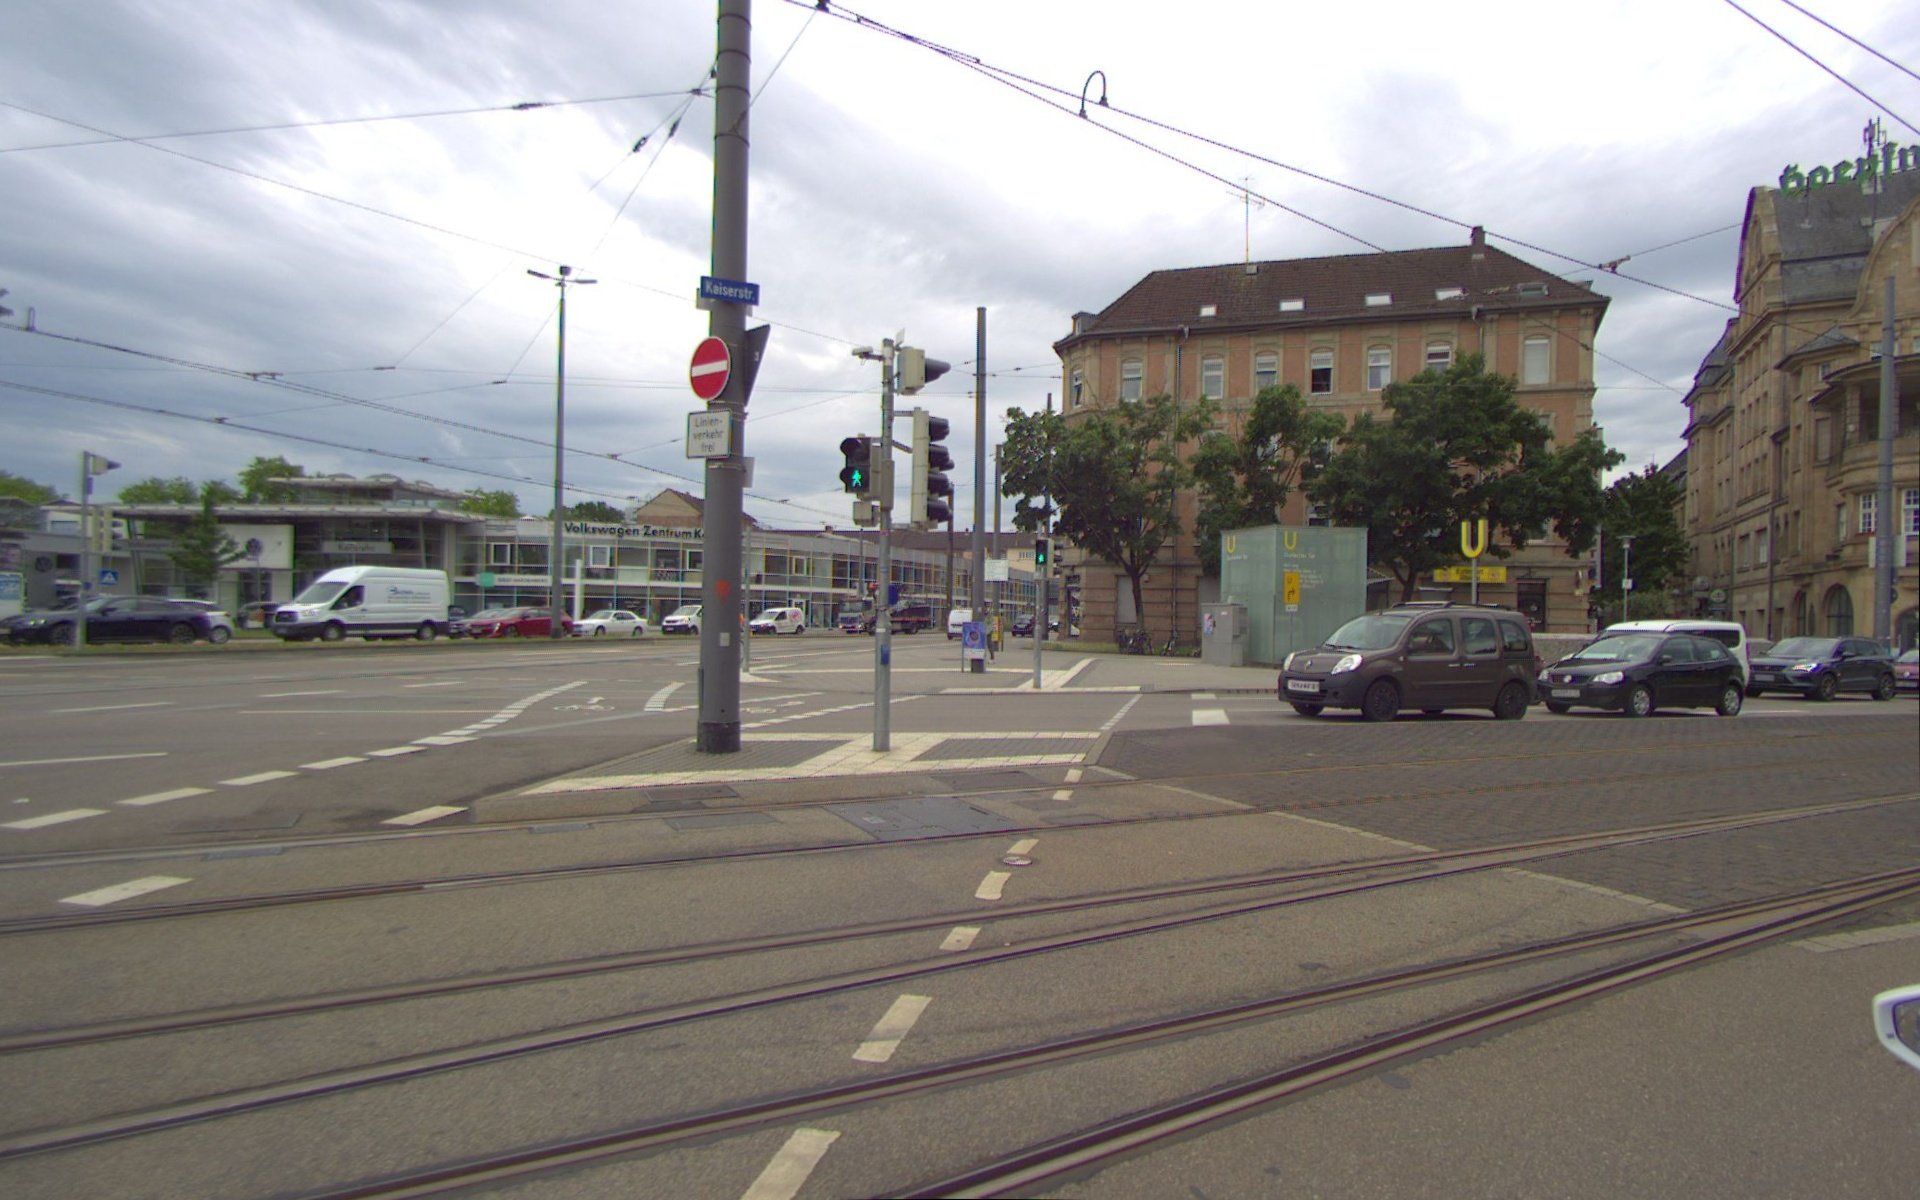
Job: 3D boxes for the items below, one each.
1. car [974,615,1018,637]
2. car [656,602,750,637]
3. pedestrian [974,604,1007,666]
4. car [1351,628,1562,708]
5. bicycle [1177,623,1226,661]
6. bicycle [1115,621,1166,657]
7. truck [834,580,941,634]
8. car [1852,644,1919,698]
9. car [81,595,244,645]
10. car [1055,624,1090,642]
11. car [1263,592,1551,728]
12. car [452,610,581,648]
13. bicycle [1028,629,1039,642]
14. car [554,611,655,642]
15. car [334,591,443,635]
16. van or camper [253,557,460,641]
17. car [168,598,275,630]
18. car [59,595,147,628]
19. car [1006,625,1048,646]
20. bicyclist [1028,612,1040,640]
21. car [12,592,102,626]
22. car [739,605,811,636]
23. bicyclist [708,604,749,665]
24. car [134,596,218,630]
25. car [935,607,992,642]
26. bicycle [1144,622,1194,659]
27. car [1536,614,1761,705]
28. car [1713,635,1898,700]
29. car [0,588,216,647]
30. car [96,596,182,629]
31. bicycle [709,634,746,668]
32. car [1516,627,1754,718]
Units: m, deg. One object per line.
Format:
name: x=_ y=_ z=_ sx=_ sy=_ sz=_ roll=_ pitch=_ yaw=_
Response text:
car: x=3.151 y=2.251 z=86.724 sx=1.964 sy=1.863 sz=4.515 roll=1 pitch=-1 yaw=29
car: x=-14.582 y=1.133 z=57.365 sx=2.124 sy=1.881 sz=5.441 roll=1 pitch=-1 yaw=27
pedestrian: x=0.866 y=0.993 z=28.658 sx=0.894 sy=1.751 sz=0.602 roll=1 pitch=-1 yaw=-1
car: x=10.092 y=1.364 z=20.417 sx=3.943 sy=1.461 sz=1.685 roll=2 pitch=-1 yaw=-23
bicycle: x=9.518 y=1.646 z=39.500 sx=0.944 sy=1.372 sz=3.114 roll=2 pitch=-1 yaw=31
bicycle: x=7.316 y=1.573 z=40.537 sx=0.944 sy=1.372 sz=3.114 roll=2 pitch=-1 yaw=31
truck: x=-5.178 y=0.615 z=73.833 sx=2.755 sy=3.596 sz=9.201 roll=2 pitch=-1 yaw=33
car: x=26.797 y=1.939 z=27.688 sx=3.840 sy=1.417 sz=1.859 roll=2 pitch=-3 yaw=-24
car: x=-24.892 y=0.624 z=31.510 sx=1.608 sy=1.439 sz=3.739 roll=1 pitch=-1 yaw=17
car: x=10.321 y=3.043 z=92.052 sx=1.824 sy=1.528 sz=3.996 roll=2 pitch=-1 yaw=27
car: x=7.088 y=0.923 z=15.899 sx=4.324 sy=1.925 sz=1.685 roll=2 pitch=-1 yaw=-23
car: x=-18.319 y=1.196 z=41.734 sx=1.962 sy=1.439 sz=4.798 roll=1 pitch=-1 yaw=25
bicycle: x=4.698 y=2.262 z=63.848 sx=0.608 sy=0.804 sz=1.593 roll=1 pitch=-1 yaw=6
car: x=-17.906 y=1.320 z=50.828 sx=1.963 sy=1.439 sz=4.745 roll=1 pitch=-1 yaw=27
car: x=-28.812 y=0.663 z=50.683 sx=4.686 sy=2.040 sz=2.122 roll=2 pitch=-1 yaw=18
van or camper: x=-20.841 y=0.048 z=35.137 sx=2.375 sy=2.645 sz=6.054 roll=2 pitch=-1 yaw=18
car: x=-34.531 y=0.671 z=47.067 sx=1.608 sy=1.439 sz=3.737 roll=1 pitch=-1 yaw=20
car: x=-55.479 y=0.768 z=65.133 sx=1.959 sy=2.040 sz=4.003 roll=2 pitch=-1 yaw=6
car: x=4.956 y=2.577 z=73.830 sx=1.961 sy=1.439 sz=3.999 roll=1 pitch=-1 yaw=22
bicyclist: x=4.710 y=1.664 z=63.869 sx=0.676 sy=1.730 sz=0.799 roll=1 pitch=-1 yaw=6
car: x=-58.541 y=0.623 z=65.229 sx=1.959 sy=2.040 sz=4.003 roll=2 pitch=-1 yaw=6
car: x=-11.619 y=1.277 z=63.387 sx=1.964 sy=1.863 sz=4.515 roll=1 pitch=-1 yaw=29
bicyclist: x=-6.345 y=0.939 z=27.604 sx=0.813 sy=1.642 sz=1.321 roll=1 pitch=-1 yaw=-1
car: x=-50.244 y=0.851 z=64.470 sx=1.959 sy=2.040 sz=4.003 roll=2 pitch=-1 yaw=6
car: x=0.259 y=1.450 z=60.336 sx=1.882 sy=1.966 sz=4.129 roll=1 pitch=-1 yaw=24
bicycle: x=8.348 y=1.607 z=40.041 sx=0.944 sy=1.372 sz=3.114 roll=2 pitch=-1 yaw=31
car: x=15.993 y=1.354 z=23.303 sx=5.027 sy=1.941 sz=1.859 roll=2 pitch=-1 yaw=-22
car: x=21.536 y=1.702 z=25.584 sx=4.240 sy=1.554 sz=1.860 roll=2 pitch=-3 yaw=-22
car: x=-23.423 y=0.479 z=27.490 sx=1.960 sy=1.439 sz=4.663 roll=1 pitch=-1 yaw=17
car: x=-53.004 y=0.825 z=64.979 sx=1.959 sy=2.040 sz=4.003 roll=2 pitch=-1 yaw=6
bicycle: x=-6.375 y=1.377 z=27.599 sx=0.547 sy=0.859 sz=2.073 roll=1 pitch=-1 yaw=-1
car: x=12.076 y=1.261 z=17.966 sx=3.943 sy=1.461 sz=1.685 roll=2 pitch=-1 yaw=-23
